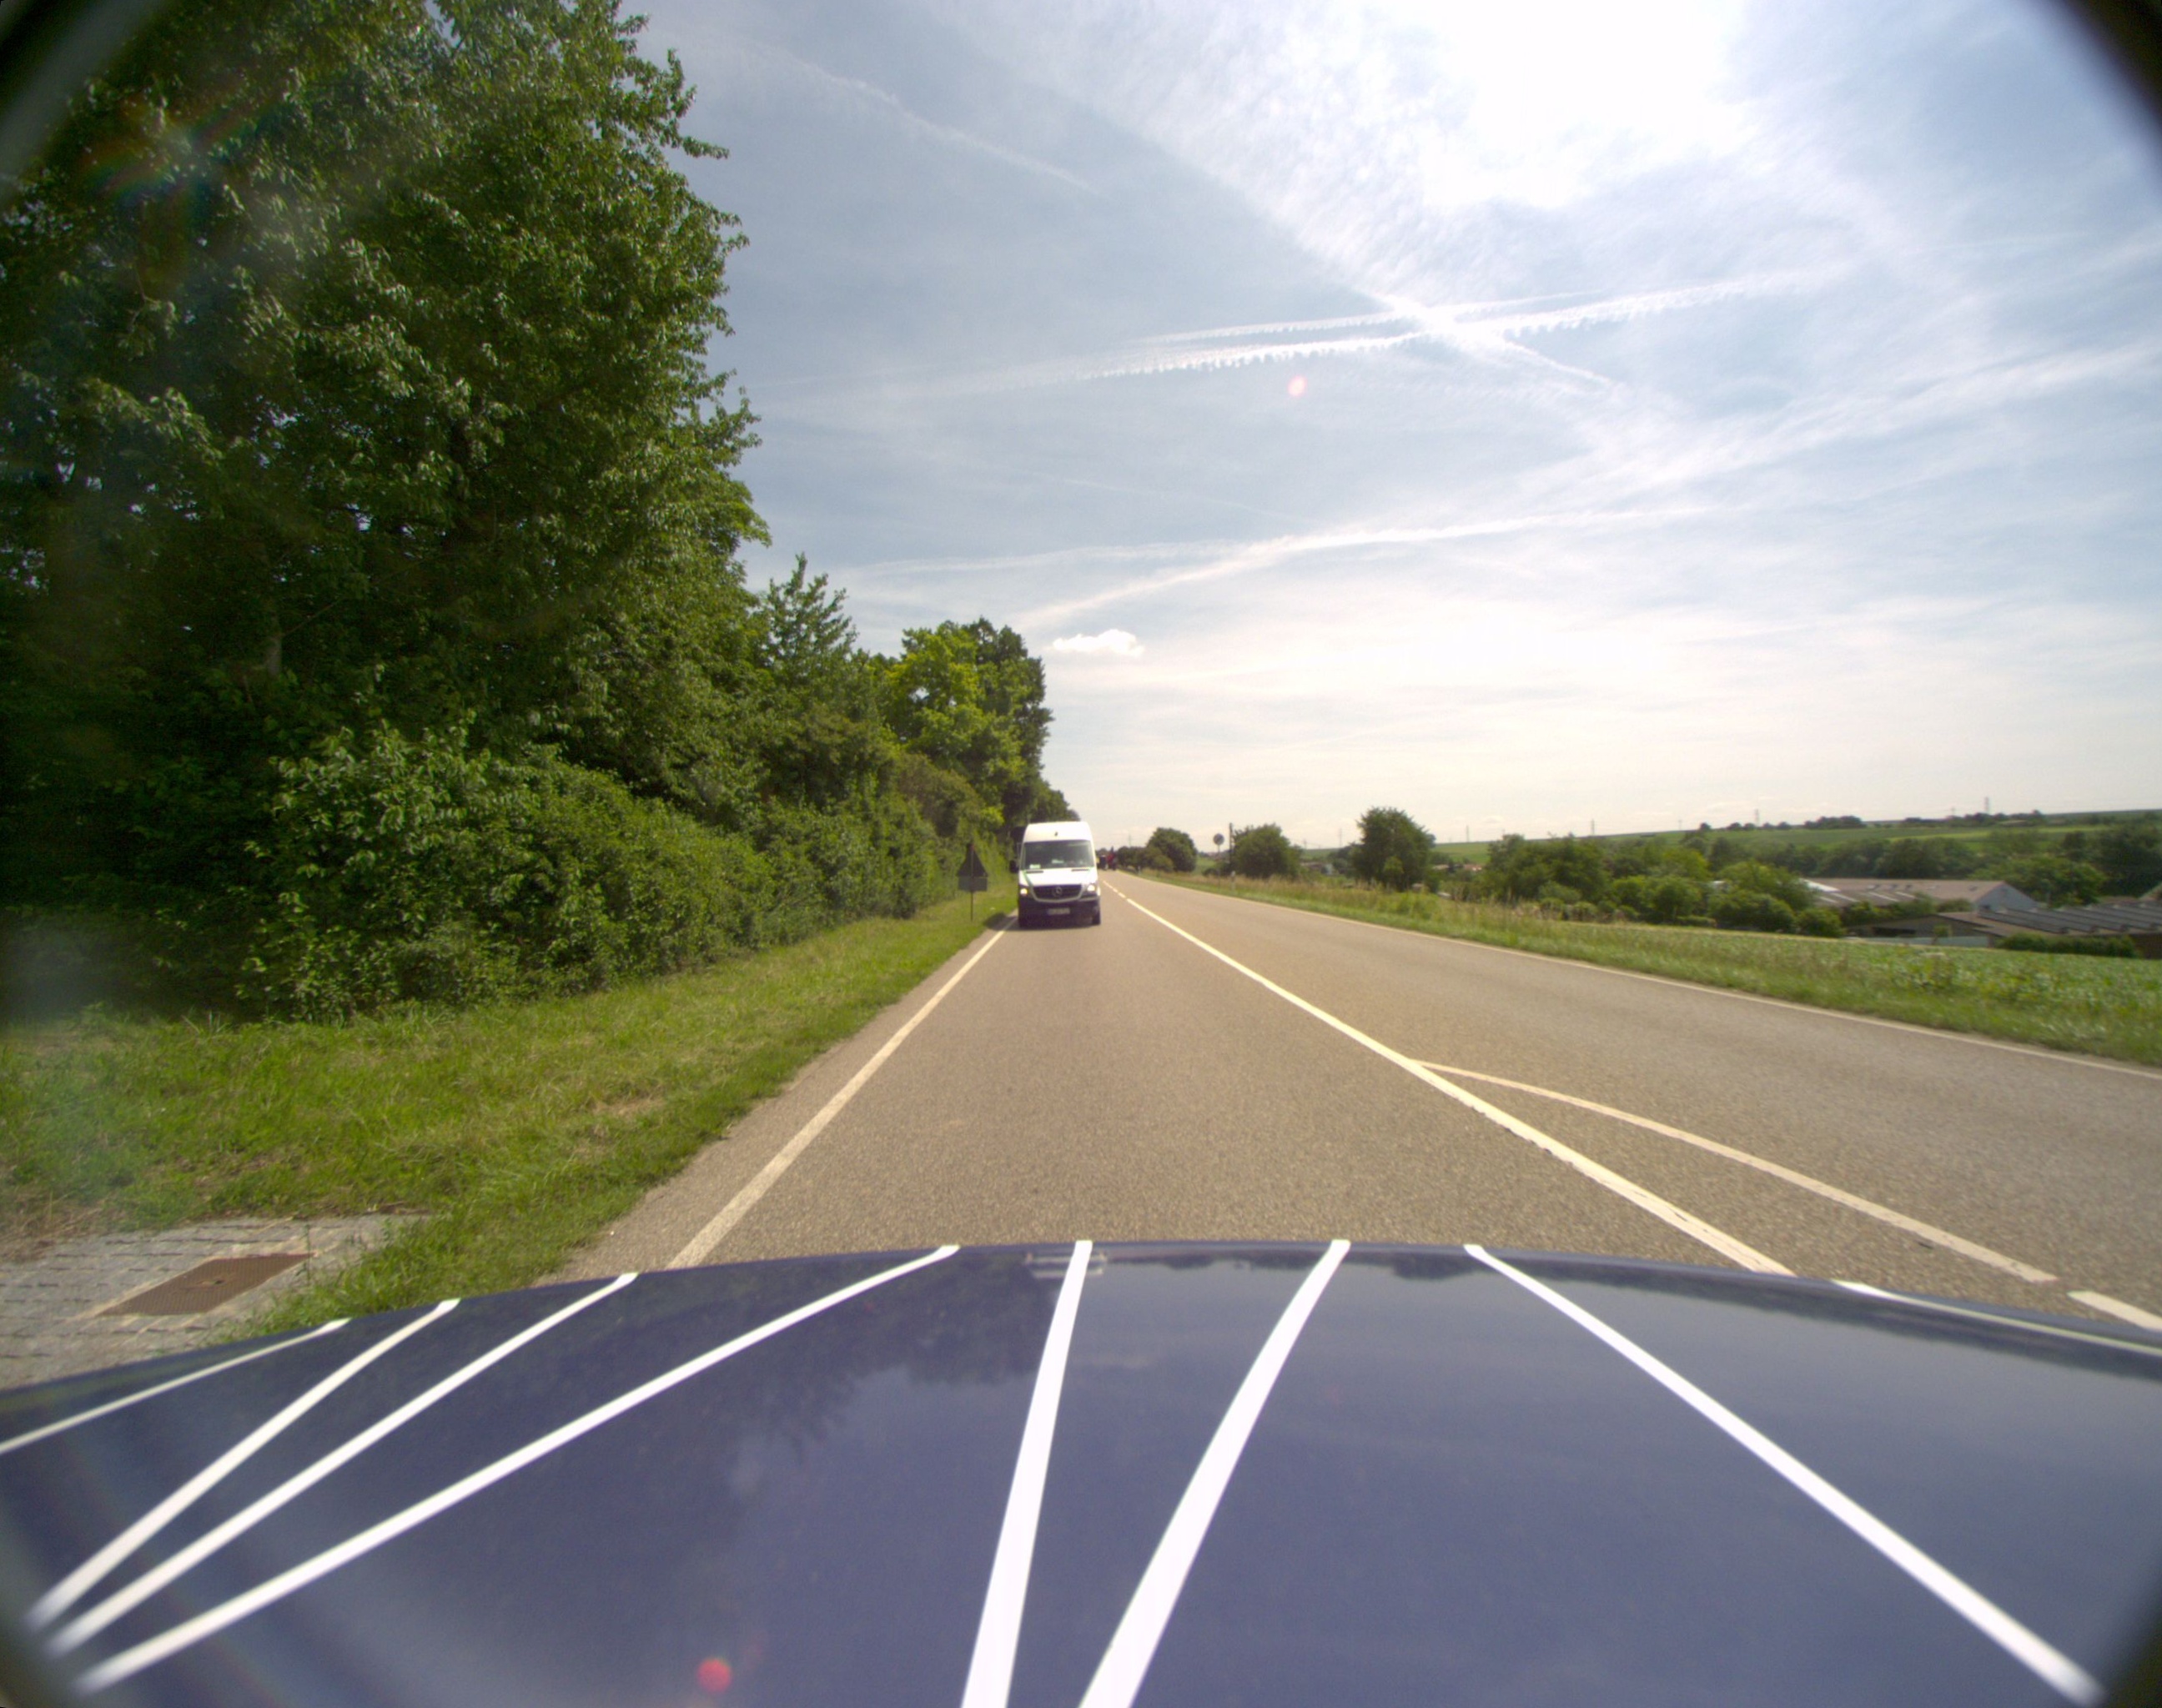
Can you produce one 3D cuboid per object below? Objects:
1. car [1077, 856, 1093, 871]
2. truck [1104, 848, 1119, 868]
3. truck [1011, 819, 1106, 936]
[{"bbox_3d":[0.581,1.312,104.534,1.999,2.002,3.999,2,0,-1],"label":"car"},{"bbox_3d":[5.894,0.823,148.030,2.763,3.555,11.068,1,-1,2],"label":"truck"},{"bbox_3d":[-0.392,0.552,20.779,2.022,2.567,7.226,-2,0,2],"label":"truck"}]
